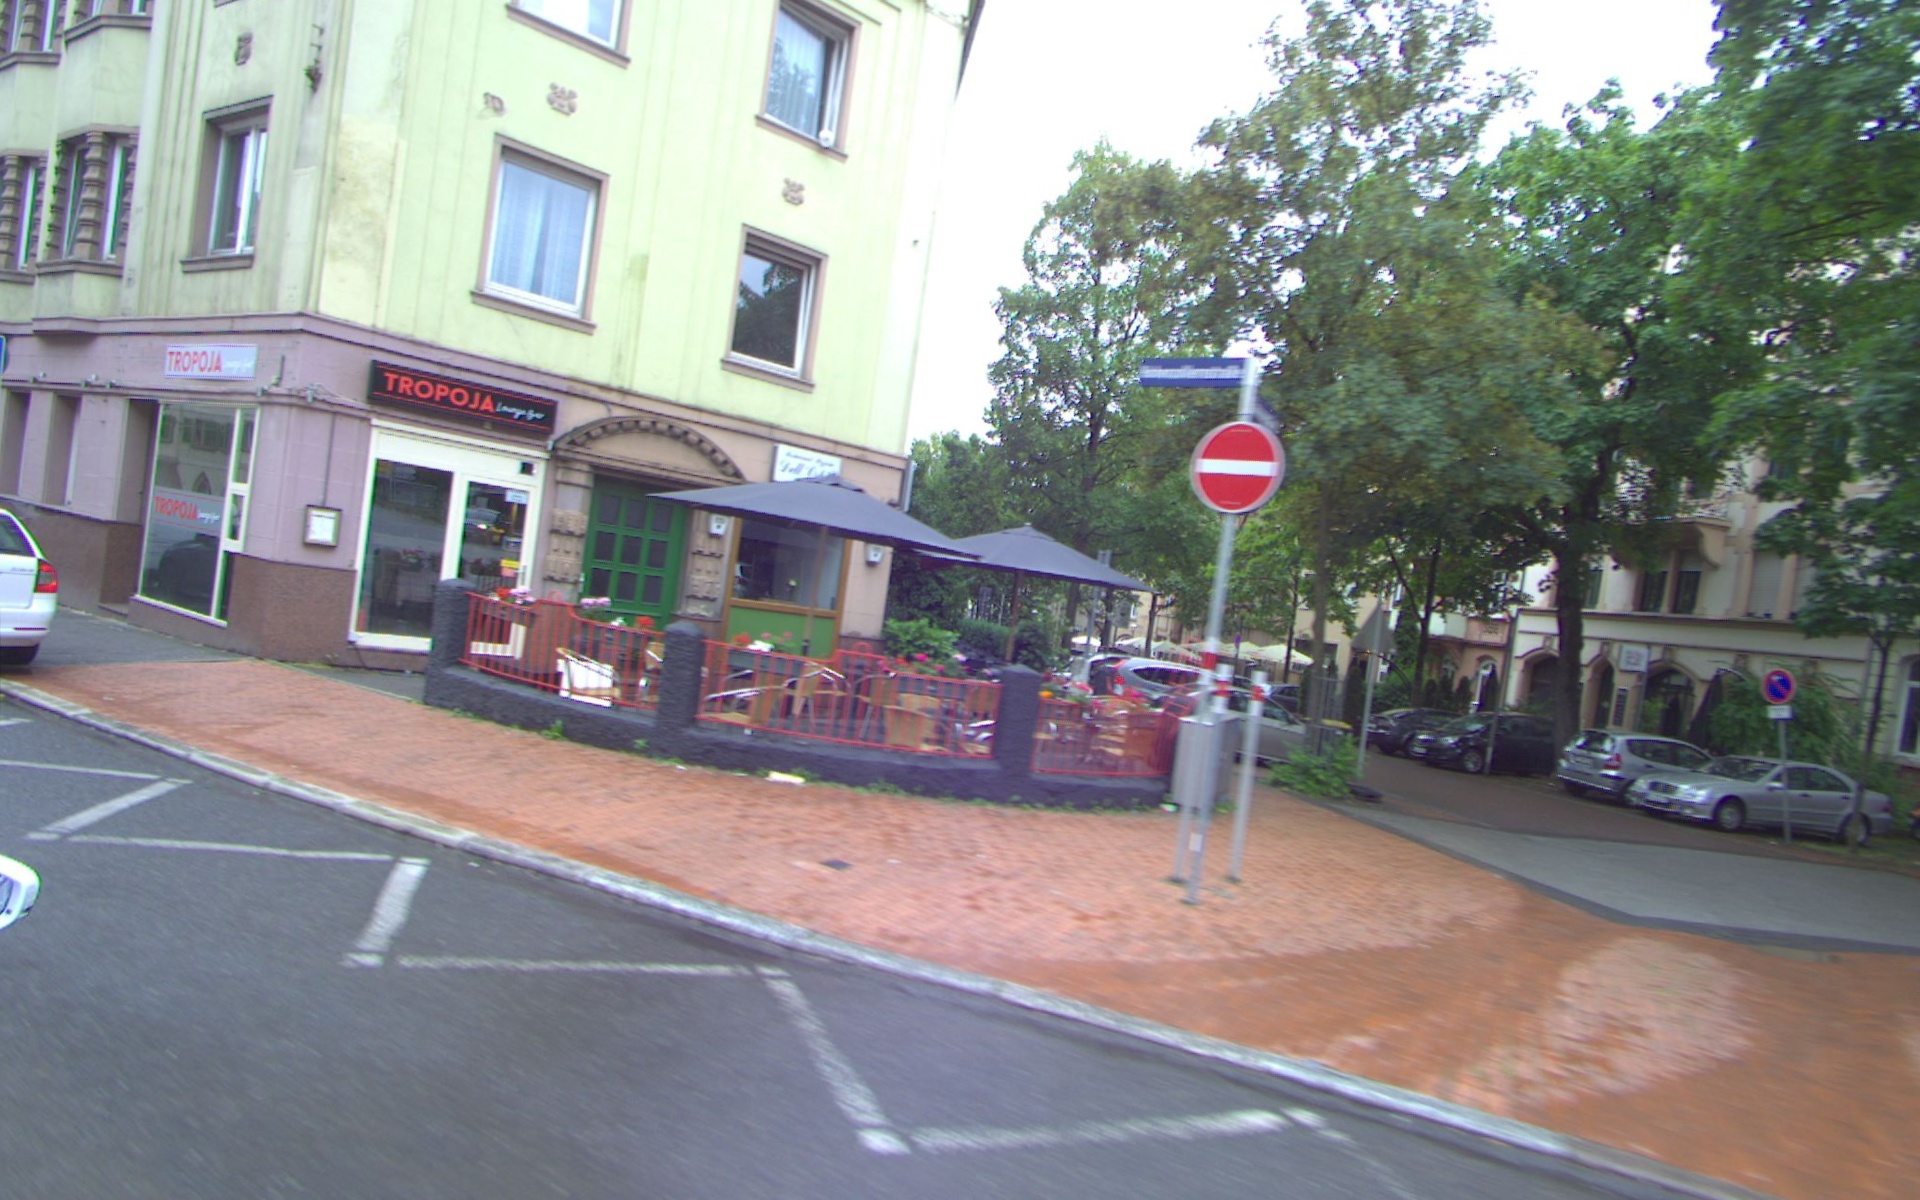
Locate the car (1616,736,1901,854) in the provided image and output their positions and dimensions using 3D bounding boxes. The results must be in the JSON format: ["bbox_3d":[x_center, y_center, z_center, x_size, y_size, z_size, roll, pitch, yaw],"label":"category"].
[{"bbox_3d":[15.058,3.662,19.055,4.262,1.412,1.706,9,-2,-9],"label":"car"}]

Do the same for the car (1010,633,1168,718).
[{"bbox_3d":[3.642,2.131,28.743,3.933,1.809,1.791,9,-1,-9],"label":"car"}]

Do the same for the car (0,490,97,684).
[{"bbox_3d":[-10.001,-0.359,9.134,4.416,1.583,1.803,7,-2,30],"label":"car"}]

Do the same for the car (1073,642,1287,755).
[{"bbox_3d":[4.648,2.074,21.562,3.933,1.747,1.791,9,-1,-9],"label":"car"}]

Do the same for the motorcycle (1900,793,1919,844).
[{"bbox_3d":[19.676,4.392,19.949,1.598,0.934,0.448,4,-1,2],"label":"motorcycle"}]

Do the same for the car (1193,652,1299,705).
[{"bbox_3d":[11.547,3.153,40.724,3.591,1.554,1.680,9,-2,-9],"label":"car"}]

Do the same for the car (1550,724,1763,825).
[{"bbox_3d":[14.716,3.669,21.328,3.442,1.482,1.589,9,-2,-9],"label":"car"}]

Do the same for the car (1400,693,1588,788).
[{"bbox_3d":[13.370,3.500,25.305,3.719,1.686,1.678,9,-1,-6],"label":"car"}]

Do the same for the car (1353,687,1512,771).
[{"bbox_3d":[13.111,3.572,28.016,3.591,1.686,1.589,9,-1,-9],"label":"car"}]

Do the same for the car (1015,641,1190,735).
[{"bbox_3d":[3.606,2.235,25.823,3.933,1.747,1.791,9,-1,-9],"label":"car"}]

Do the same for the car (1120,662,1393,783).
[{"bbox_3d":[5.631,2.321,19.319,4.571,1.545,1.791,9,-2,-9],"label":"car"}]

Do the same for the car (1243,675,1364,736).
[{"bbox_3d":[12.230,3.743,35.939,3.591,1.554,1.680,9,-2,-9],"label":"car"}]
